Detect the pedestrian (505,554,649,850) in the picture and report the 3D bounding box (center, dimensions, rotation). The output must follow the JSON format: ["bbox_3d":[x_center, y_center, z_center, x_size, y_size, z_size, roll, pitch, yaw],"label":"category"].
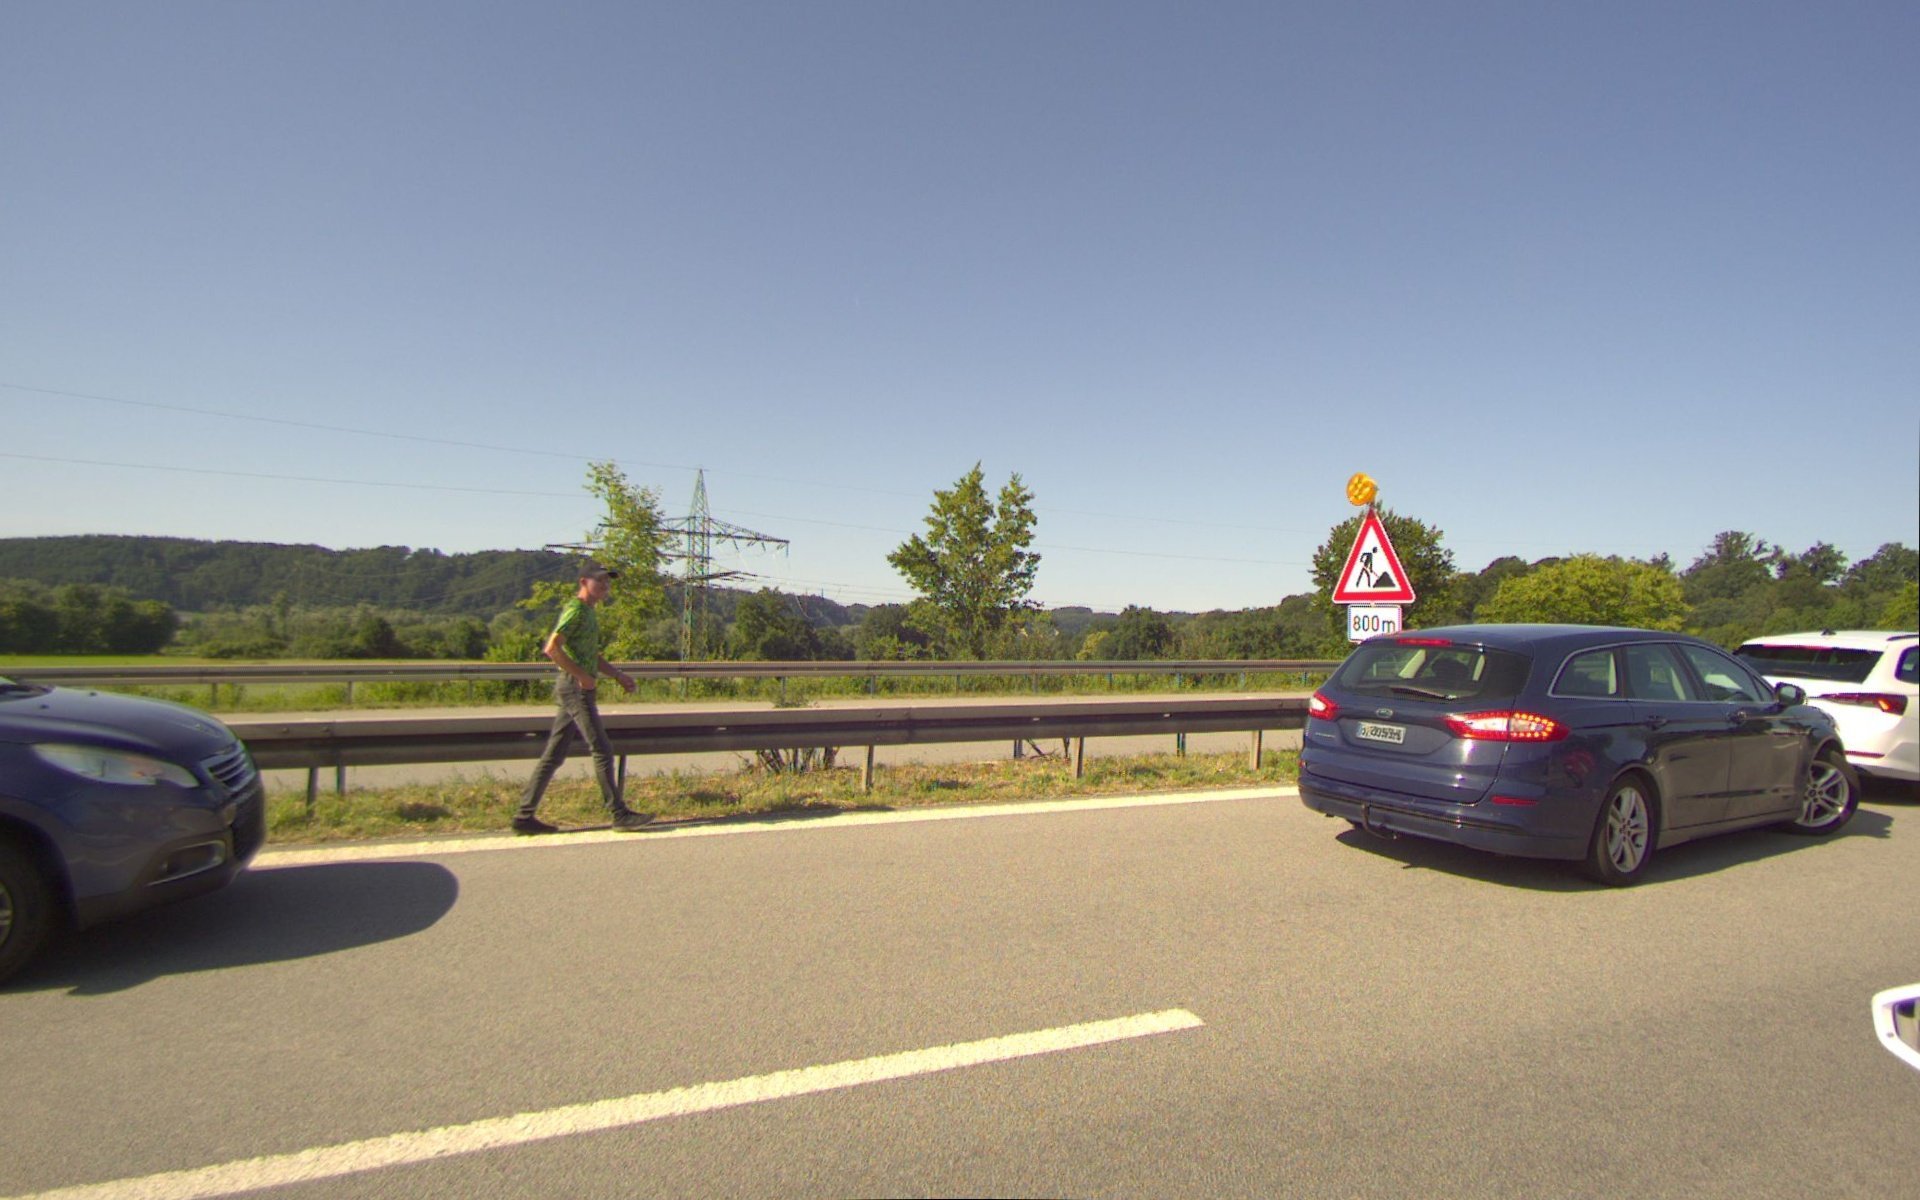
[{"bbox_3d":[-2.465,0.625,6.492,0.802,1.773,0.669,1,-2,-22],"label":"pedestrian"}]

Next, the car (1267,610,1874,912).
[{"bbox_3d":[4.355,0.881,6.975,4.442,1.513,1.779,2,-2,-31],"label":"car"}]

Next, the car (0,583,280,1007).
[{"bbox_3d":[-5.095,0.683,3.837,3.897,1.555,1.682,1,0,-26],"label":"car"}]

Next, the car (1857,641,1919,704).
[{"bbox_3d":[24.684,1.783,25.037,4.239,1.445,1.692,1,0,-20],"label":"car"}]

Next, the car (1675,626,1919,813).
[{"bbox_3d":[9.068,1.016,9.623,4.150,1.461,1.691,1,0,-23],"label":"car"}]
